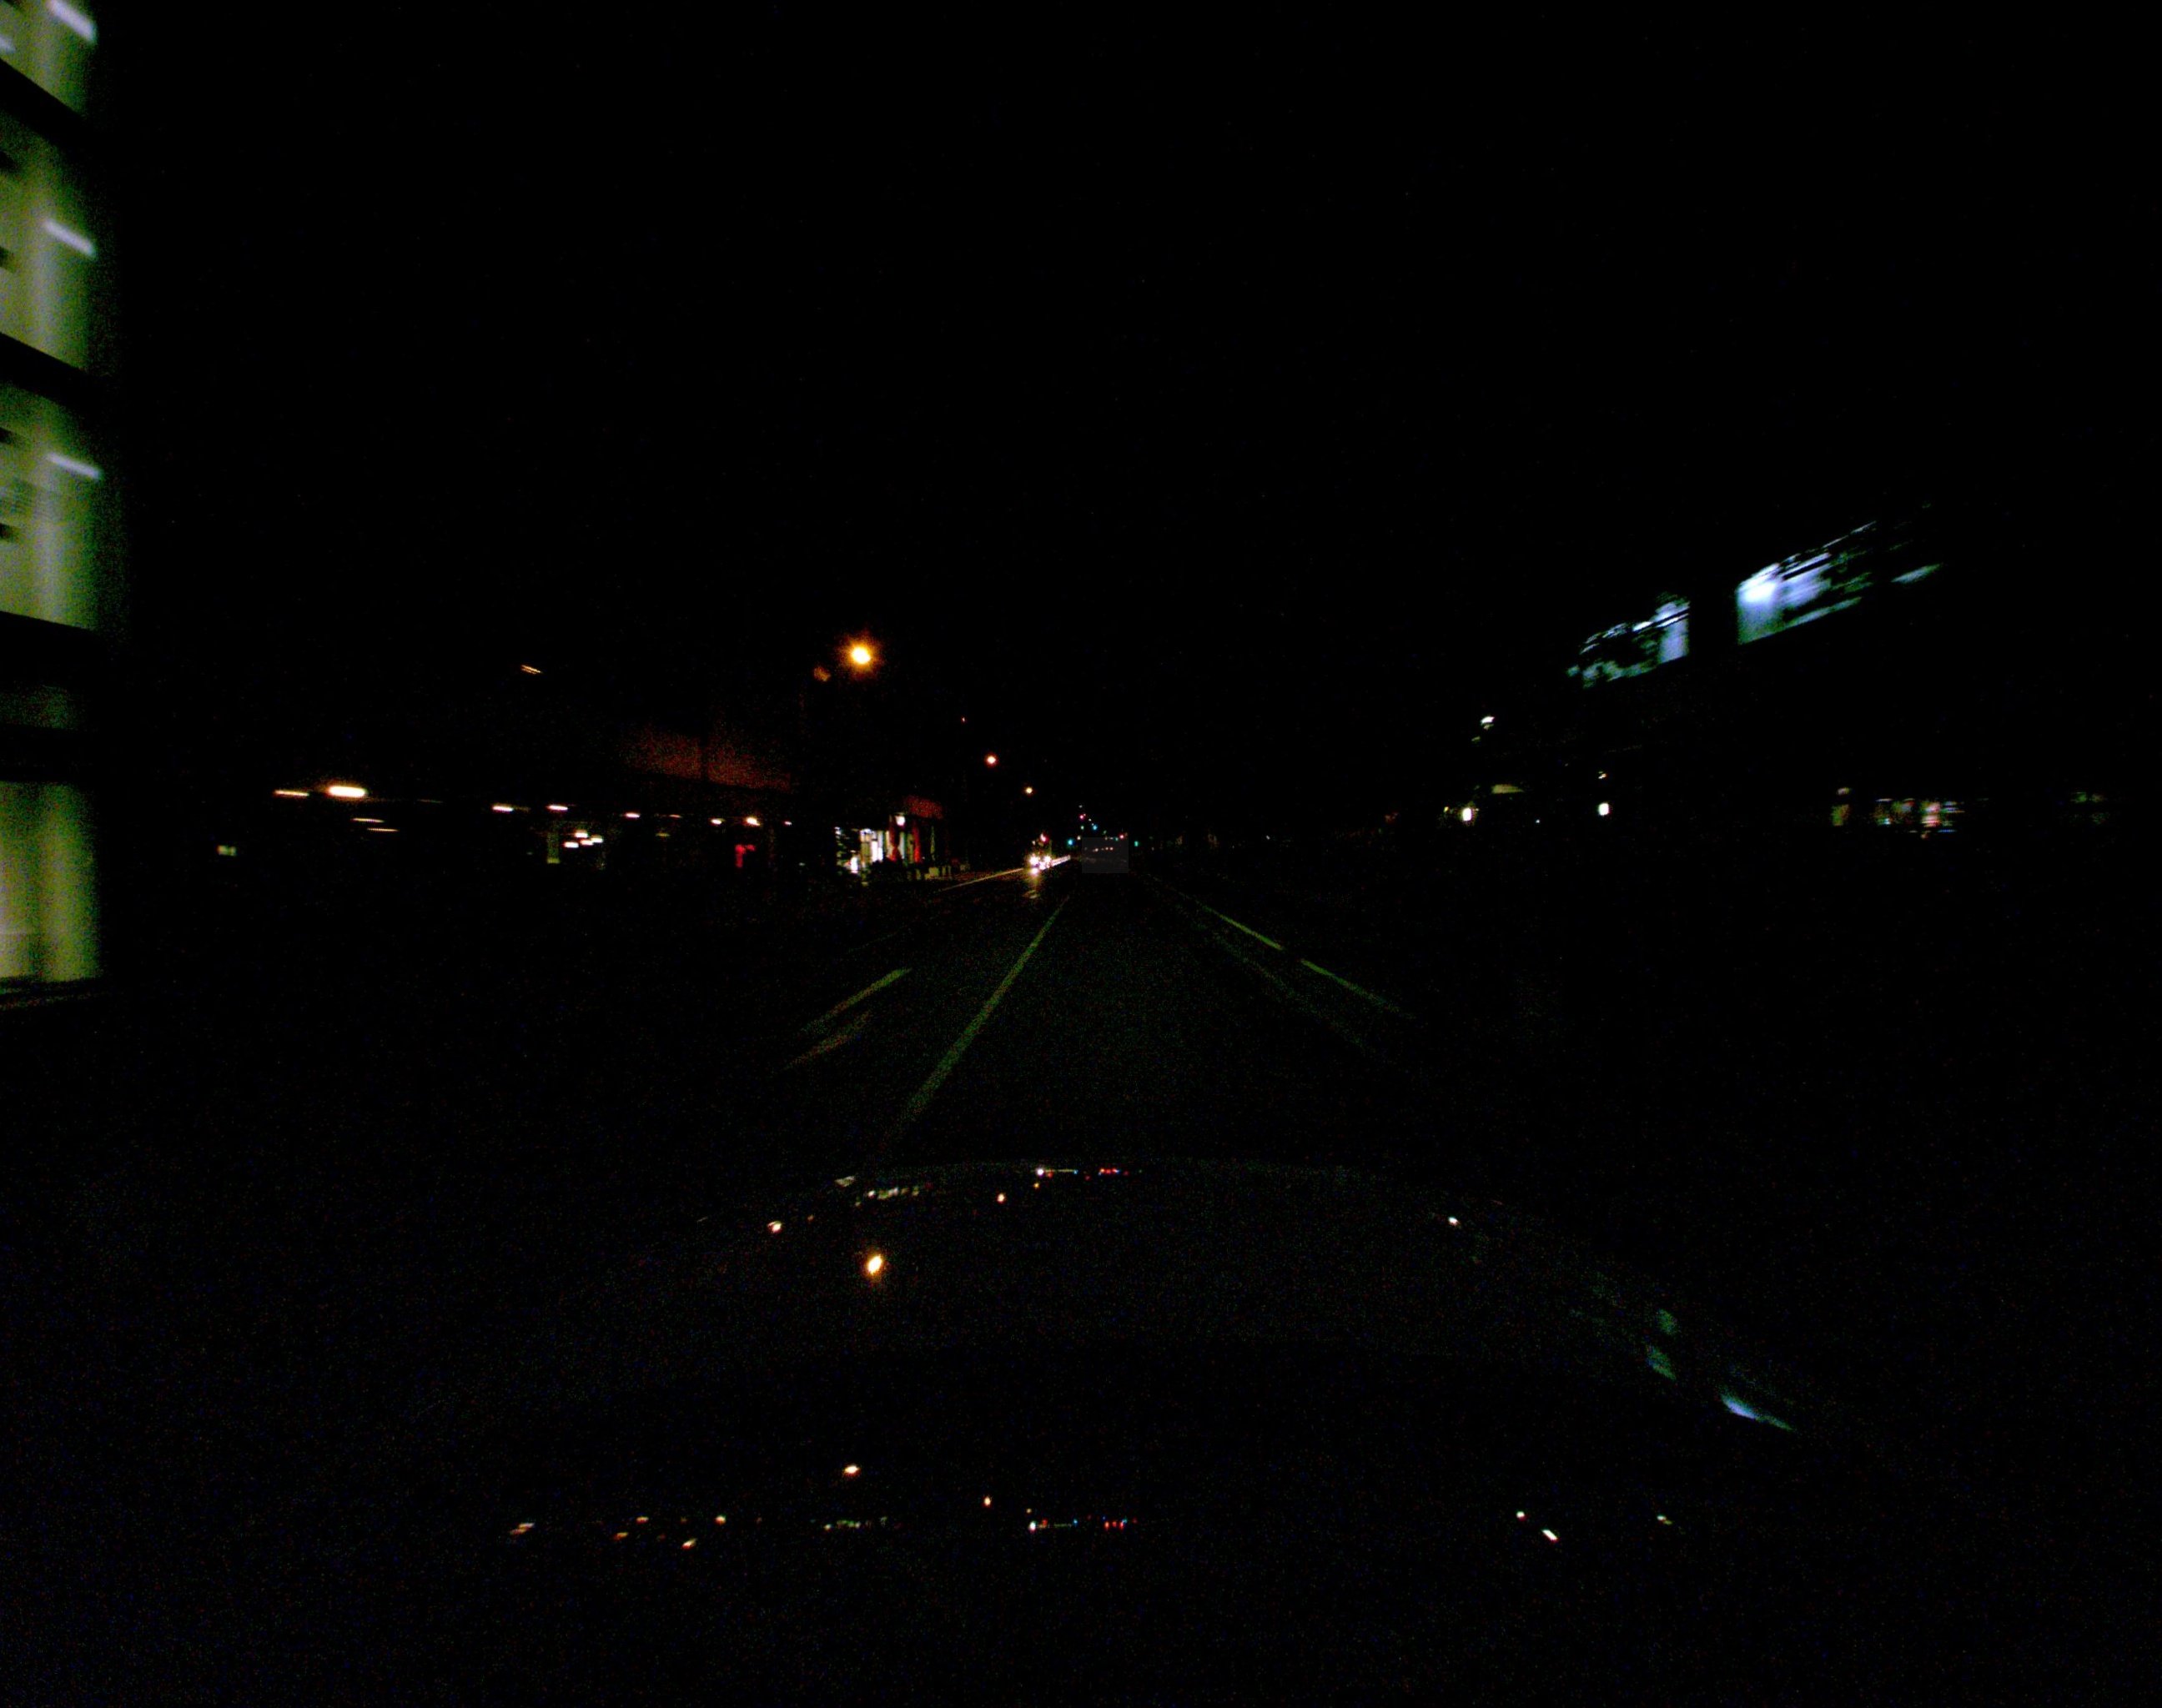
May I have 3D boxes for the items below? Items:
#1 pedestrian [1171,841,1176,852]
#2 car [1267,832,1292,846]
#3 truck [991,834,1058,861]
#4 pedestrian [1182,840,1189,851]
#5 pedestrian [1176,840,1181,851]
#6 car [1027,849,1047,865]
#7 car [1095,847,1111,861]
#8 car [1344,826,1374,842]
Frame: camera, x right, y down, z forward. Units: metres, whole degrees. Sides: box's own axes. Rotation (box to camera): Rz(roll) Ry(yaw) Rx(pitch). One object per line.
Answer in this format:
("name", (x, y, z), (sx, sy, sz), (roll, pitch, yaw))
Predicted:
("pedestrian", (15.270, -1.292, 134.508), (0.711, 1.769, 0.907), (-3, 0, 1))
("car", (23.406, -1.741, 96.254), (1.778, 1.533, 3.995), (-3, 1, -3))
("truck", (-8.953, -1.004, 128.171), (10.084, 3.717, 2.754), (-4, 0, -11))
("pedestrian", (17.218, -1.415, 134.480), (0.900, 1.769, 0.905), (-3, 0, -6))
("pedestrian", (16.083, -1.385, 134.270), (0.736, 1.769, 0.907), (-3, 0, 1))
("car", (-4.276, 0.256, 80.047), (1.661, 1.428, 4.000), (-4, 0, 0))
("car", (2.557, 0.002, 92.446), (1.798, 1.494, 4.732), (0, 0, 2))
("car", (28.797, -2.096, 84.378), (1.762, 1.533, 4.100), (-2, 1, 1))
